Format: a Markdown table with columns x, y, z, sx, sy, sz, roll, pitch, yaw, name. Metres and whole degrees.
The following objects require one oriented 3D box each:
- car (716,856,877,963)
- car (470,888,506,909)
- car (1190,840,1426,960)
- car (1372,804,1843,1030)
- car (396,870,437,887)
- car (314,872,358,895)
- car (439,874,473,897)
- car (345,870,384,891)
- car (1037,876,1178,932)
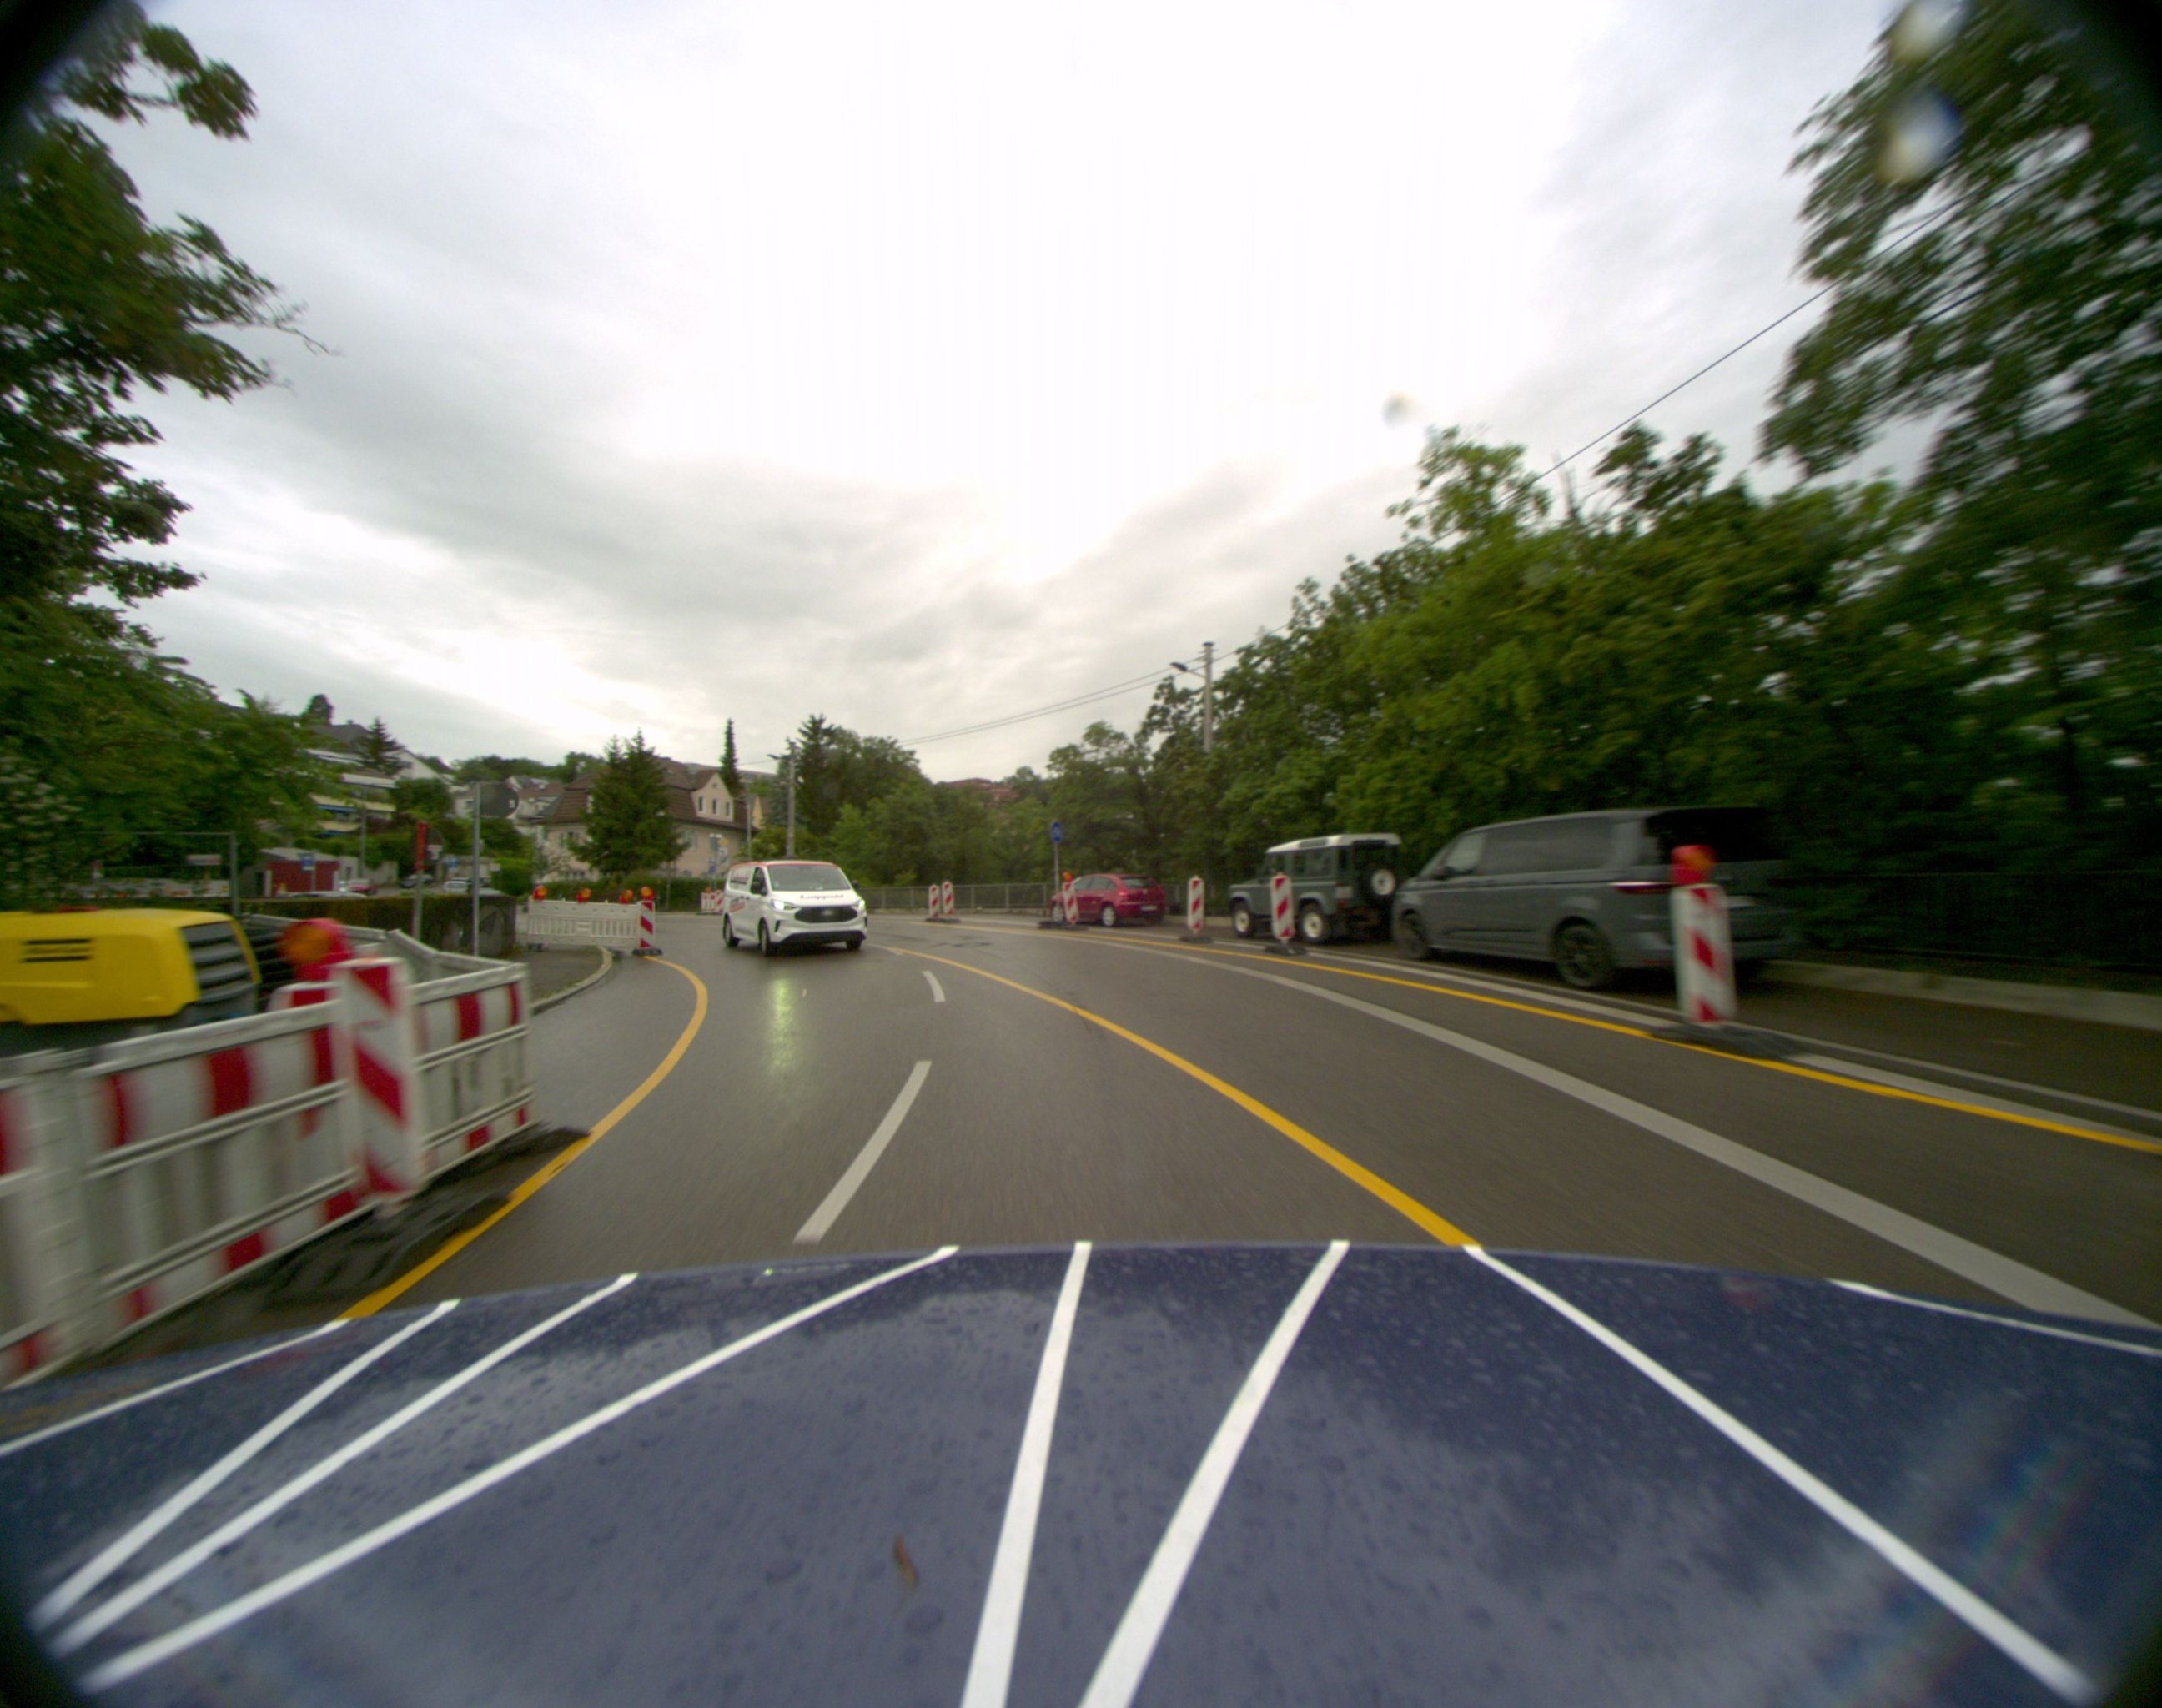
| x | y | z | sx | sy | sz | roll | pitch | yaw | name |
| --- | --- | --- | --- | --- | --- | --- | --- | --- | --- |
| -6.436 | 1.134 | 16.818 | 2.004 | 2.001 | 4.937 | 0 | -2 | -37 | car |
| -39.010 | 2.895 | 50.018 | 1.679 | 1.259 | 4.194 | 2 | -3 | -36 | car |
| 4.323 | 0.863 | 15.438 | 1.873 | 2.001 | 4.805 | -2 | -1 | -24 | car |
| 5.888 | 0.609 | 9.528 | 2.000 | 2.001 | 4.946 | -2 | -1 | -7 | car |
| -68.101 | 2.463 | 77.934 | 1.884 | 1.485 | 3.992 | -3 | 1 | -22 | car |
| -58.032 | 2.297 | 59.234 | 2.005 | 1.652 | 3.988 | 3 | -1 | -39 | car |
| -51.323 | 2.557 | 62.410 | 1.879 | 1.652 | 3.988 | 3 | -2 | -43 | car |
| -62.230 | 2.362 | 66.056 | 1.879 | 1.651 | 3.991 | 3 | -5 | -35 | car |
| 0.661 | 1.409 | 22.363 | 1.970 | 1.431 | 4.312 | 0 | -2 | -34 | car |
